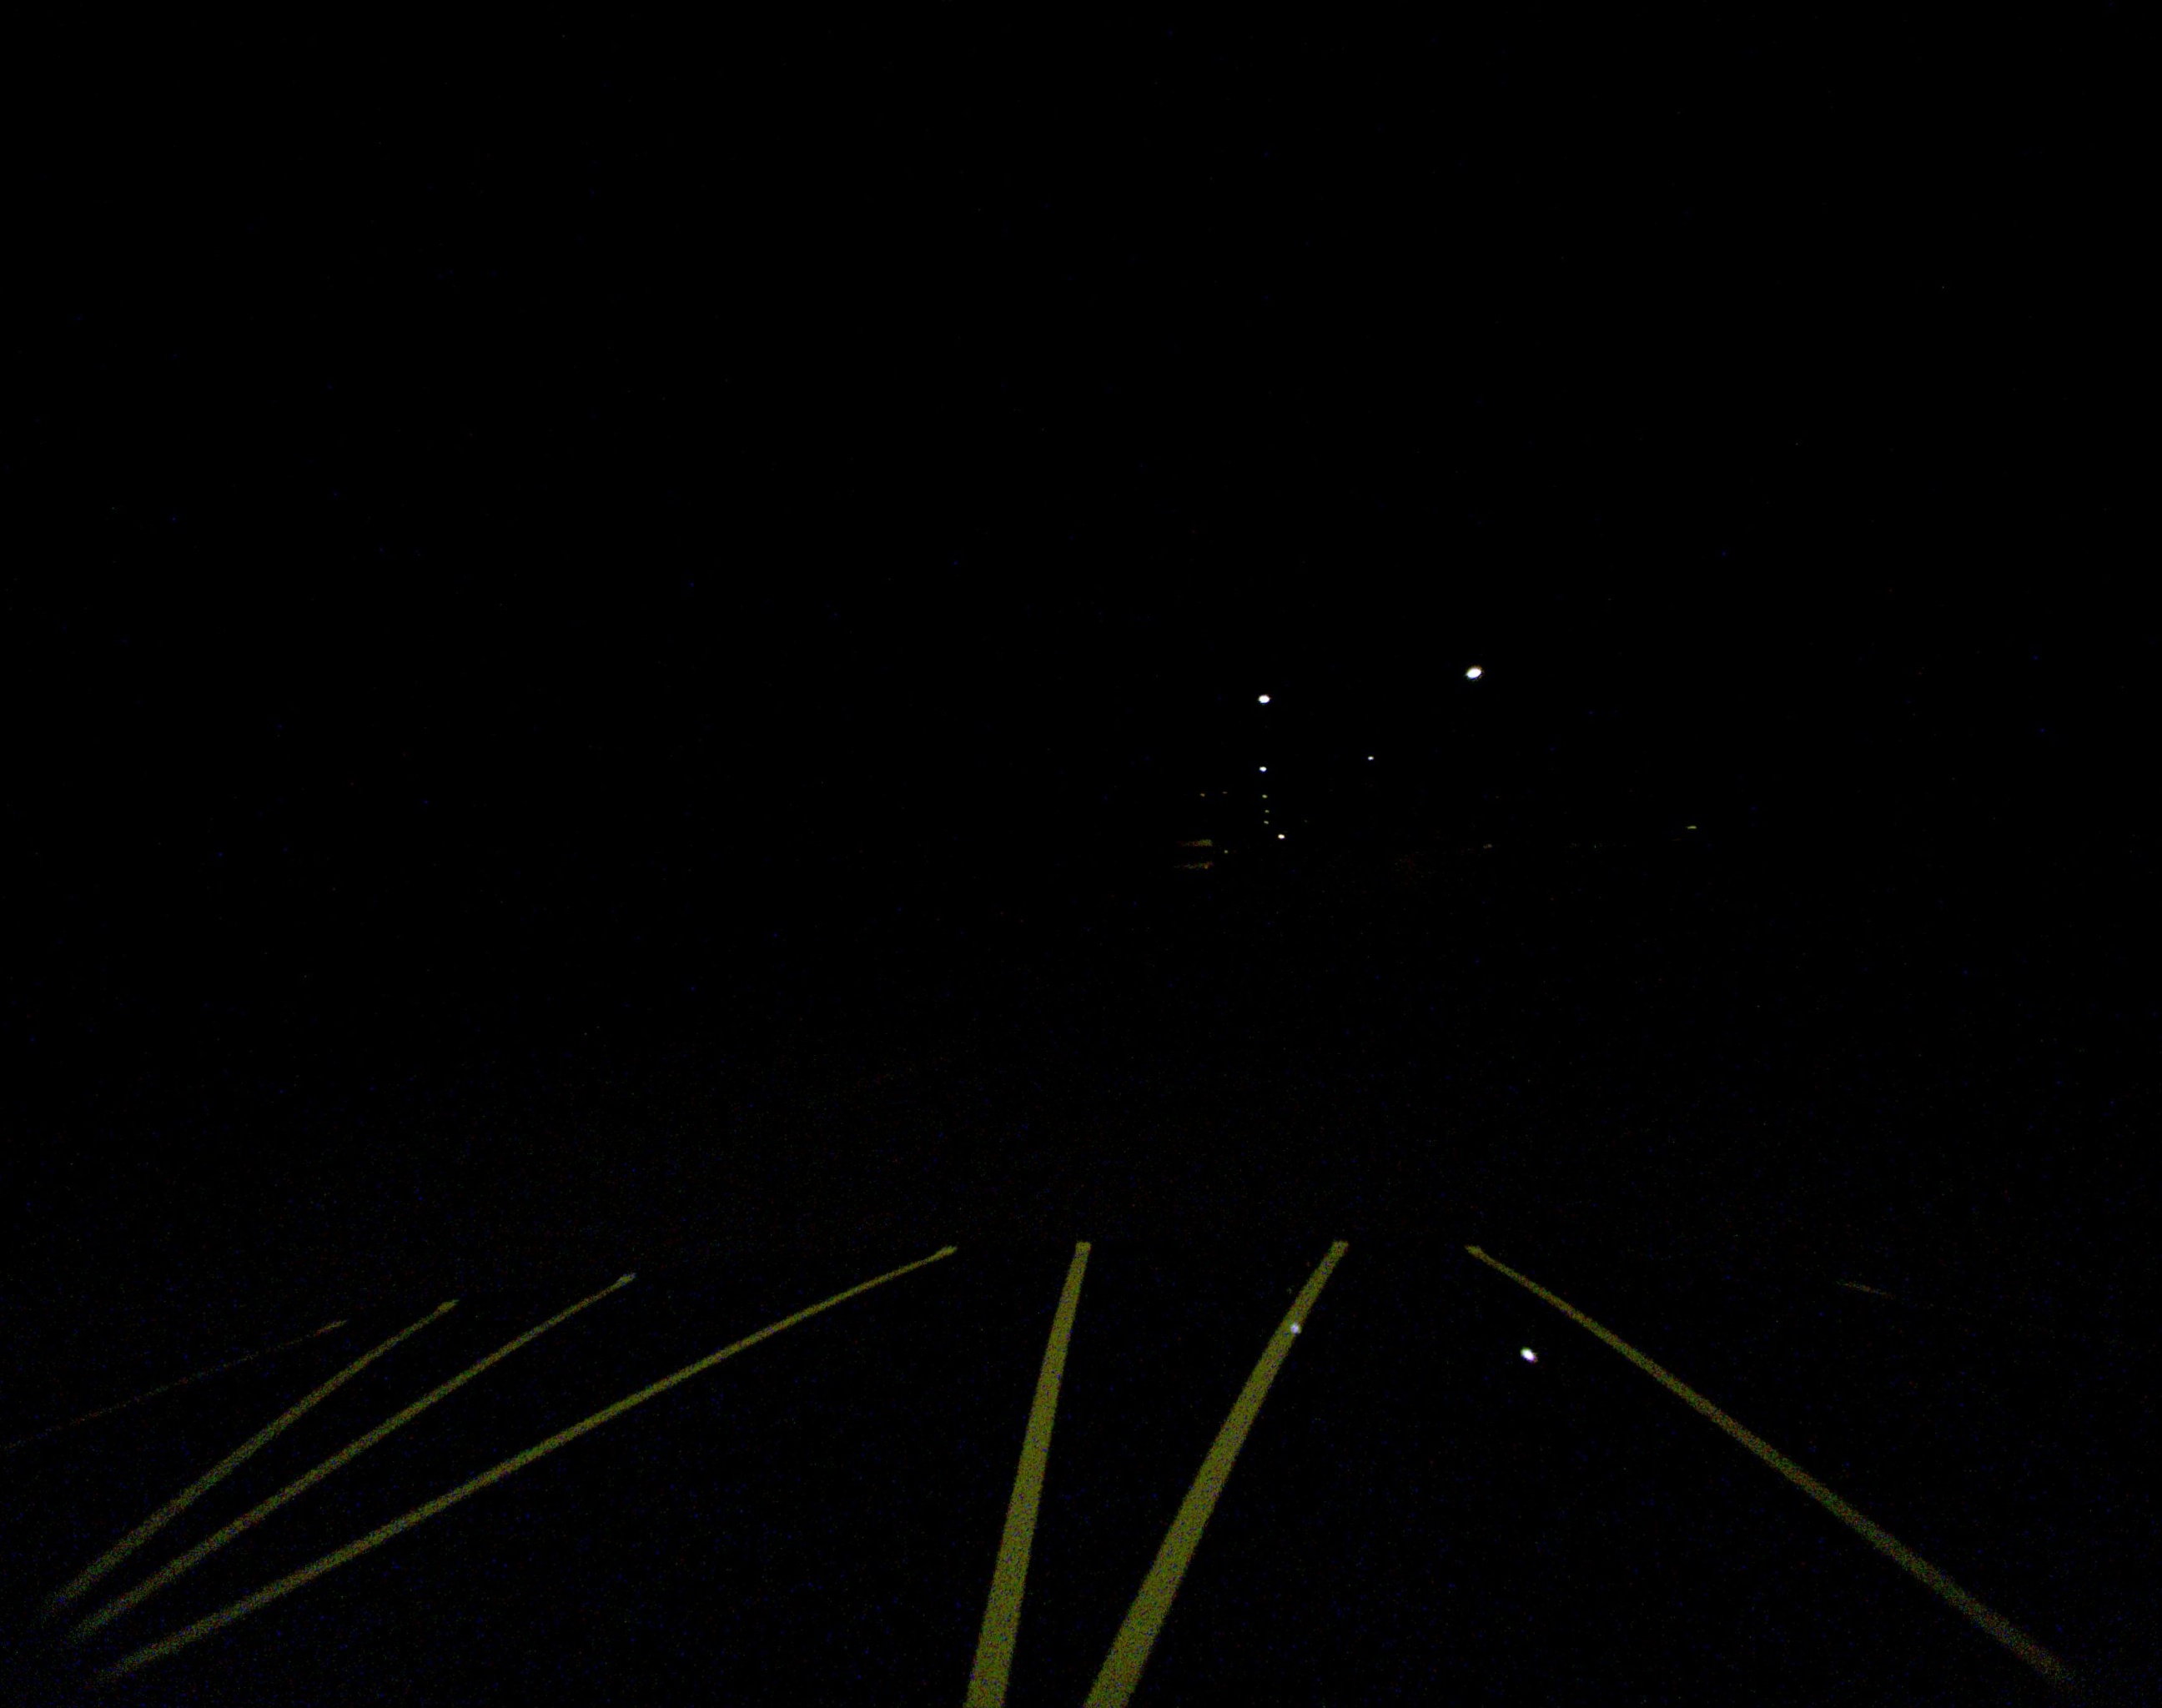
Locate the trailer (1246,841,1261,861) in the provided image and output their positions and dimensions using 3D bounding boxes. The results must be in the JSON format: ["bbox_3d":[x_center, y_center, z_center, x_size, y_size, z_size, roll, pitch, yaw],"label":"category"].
[{"bbox_3d":[30.466,-0.471,134.293,2.402,3.306,4.366,-4,-1,11],"label":"trailer"}]

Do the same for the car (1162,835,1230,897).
[{"bbox_3d":[5.502,0.488,35.587,2.111,2.501,6.379,-5,-1,17],"label":"car"}]

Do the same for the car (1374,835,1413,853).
[{"bbox_3d":[41.505,-1.319,101.076,4.439,1.960,2.002,-5,-1,14],"label":"car"}]

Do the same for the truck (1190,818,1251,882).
[{"bbox_3d":[9.858,-0.331,52.912,3.329,3.845,9.336,-4,0,14],"label":"truck"}]

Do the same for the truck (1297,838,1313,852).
[{"bbox_3d":[59.261,-2.323,201.320,2.826,3.610,10.410,-4,-1,10],"label":"truck"}]

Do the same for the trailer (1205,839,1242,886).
[{"bbox_3d":[8.408,0.468,44.607,1.634,2.459,5.033,-5,-1,14],"label":"trailer"}]

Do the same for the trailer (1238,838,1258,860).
[{"bbox_3d":[21.916,-0.638,99.753,1.996,2.635,4.005,-5,-1,17],"label":"trailer"}]

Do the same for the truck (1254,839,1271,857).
[{"bbox_3d":[43.151,-1.450,180.308,2.513,3.814,12.674,-5,-1,19],"label":"truck"}]

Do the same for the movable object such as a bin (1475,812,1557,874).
[{"bbox_3d":[18.287,-0.442,32.067,1.553,2.453,2.838,-3,1,-7],"label":"movable object such as a bin"}]

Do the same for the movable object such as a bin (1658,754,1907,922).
[{"bbox_3d":[12.875,-0.246,14.286,1.573,2.718,3.703,-1,0,7],"label":"movable object such as a bin"}]

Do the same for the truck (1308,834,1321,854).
[{"bbox_3d":[53.455,-2.440,173.856,2.641,4.290,12.837,-2,1,17],"label":"truck"}]
